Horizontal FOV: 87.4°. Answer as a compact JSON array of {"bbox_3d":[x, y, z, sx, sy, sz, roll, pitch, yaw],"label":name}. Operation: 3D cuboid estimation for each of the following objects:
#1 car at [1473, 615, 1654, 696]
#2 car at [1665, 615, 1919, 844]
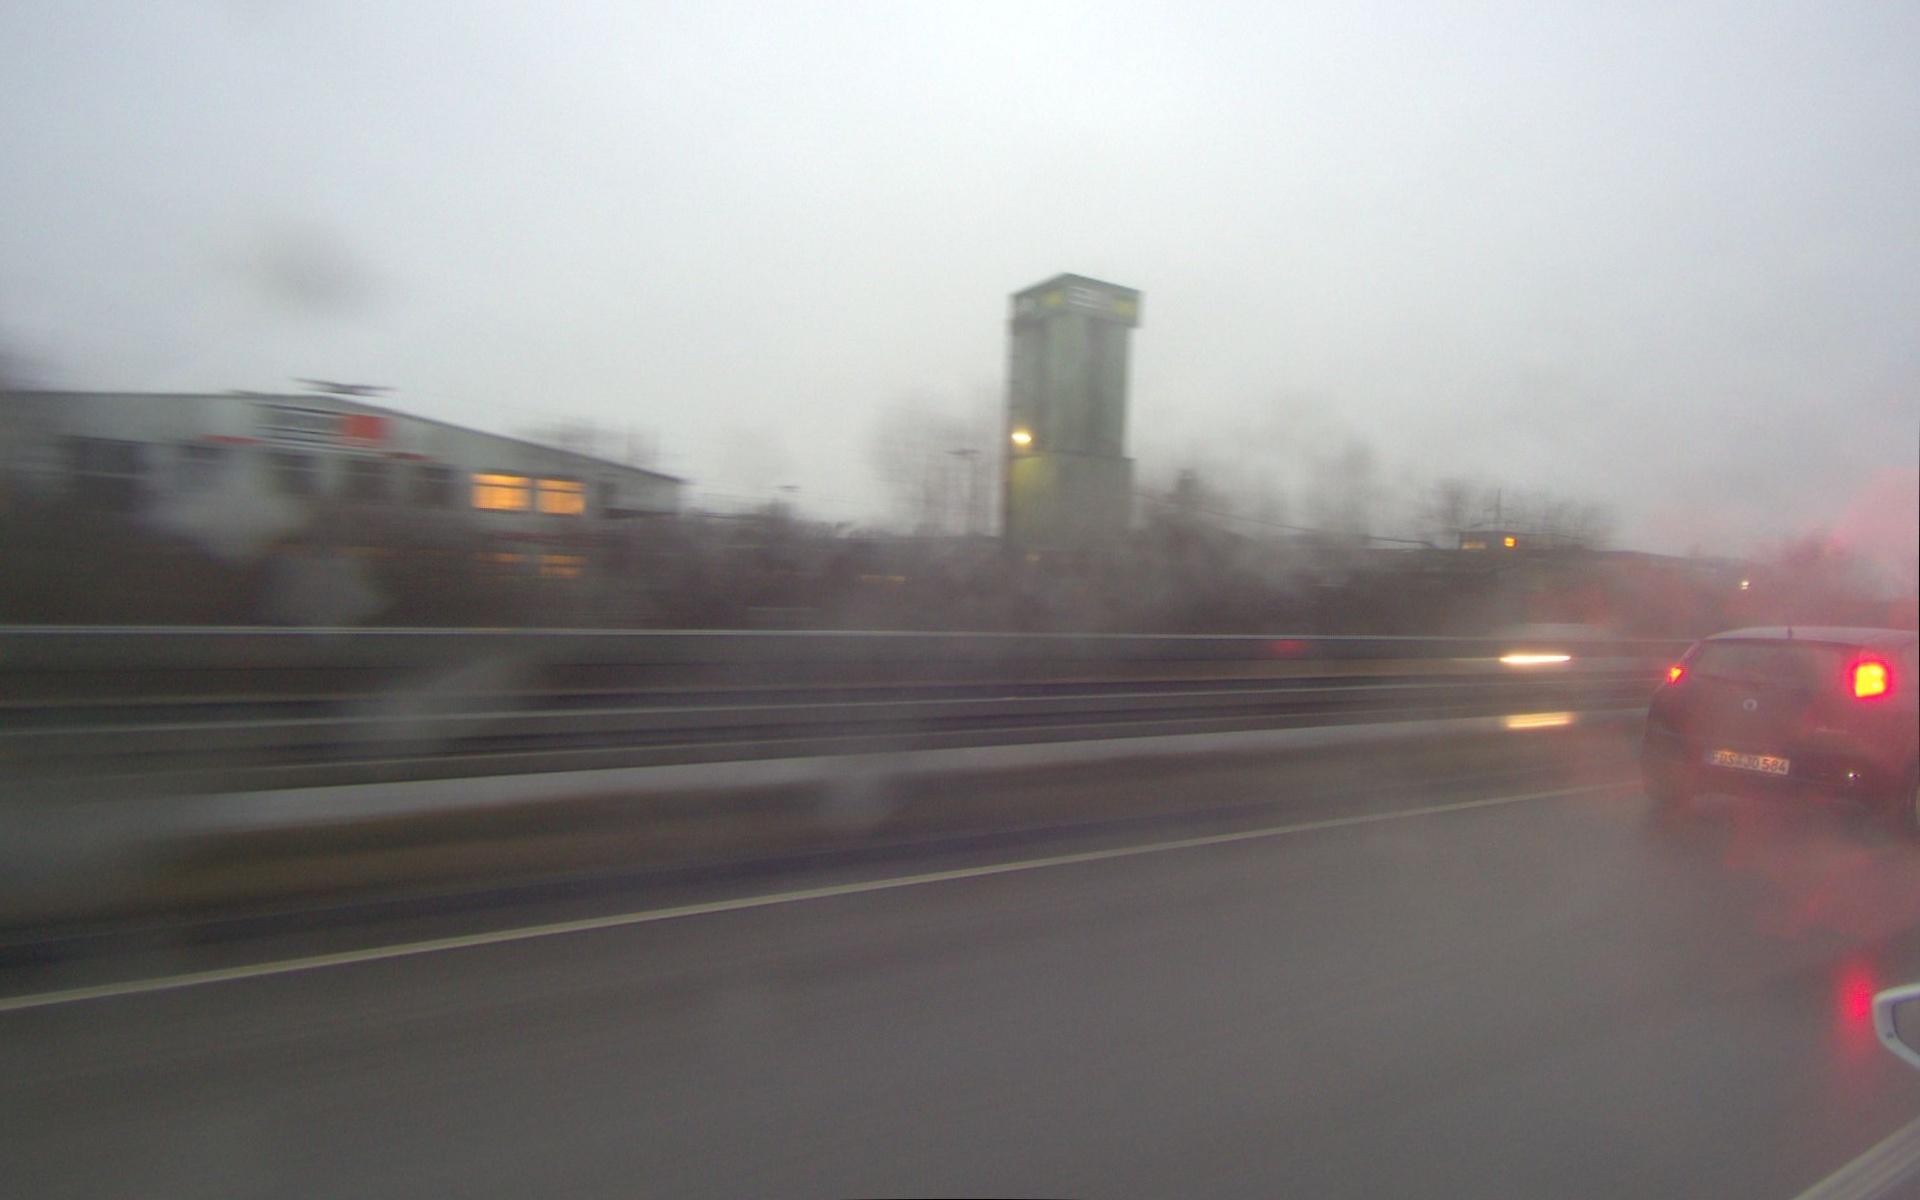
[{"bbox_3d":[13.805,1.220,22.902,4.478,1.648,1.753,2,0,-33],"label":"car"},{"bbox_3d":[7.605,0.920,8.120,3.954,1.410,1.617,2,1,-31],"label":"car"}]
